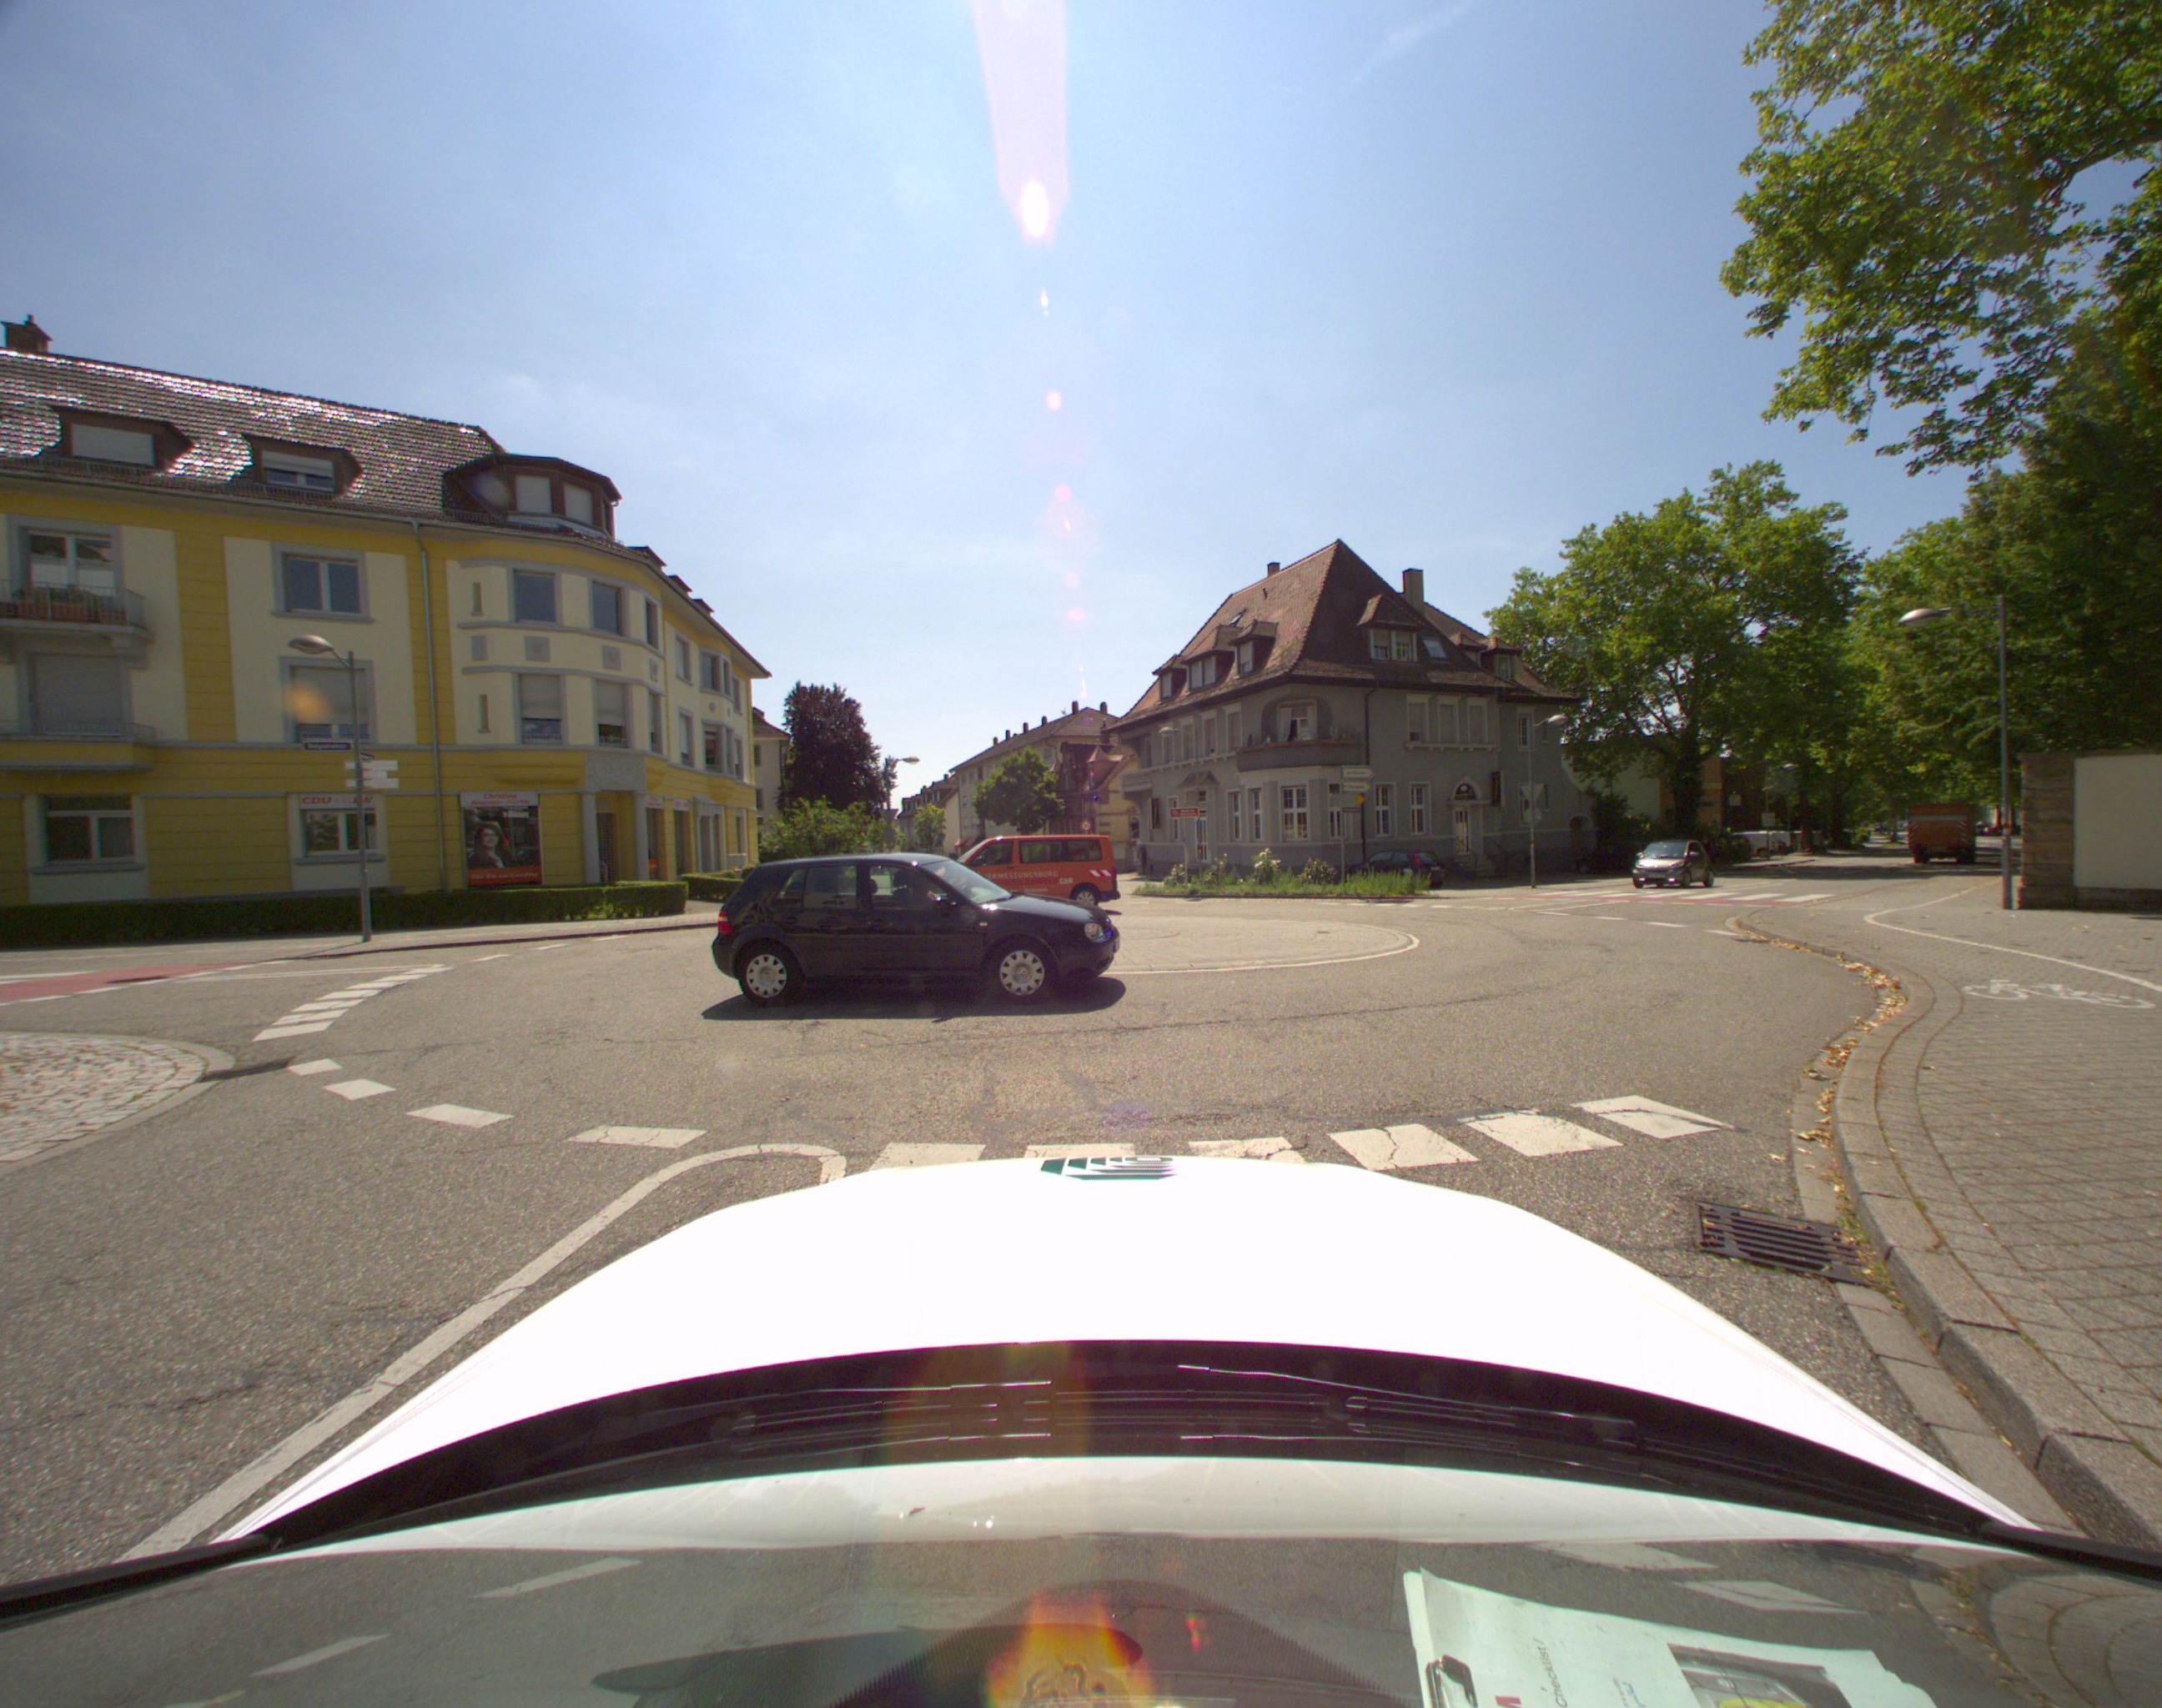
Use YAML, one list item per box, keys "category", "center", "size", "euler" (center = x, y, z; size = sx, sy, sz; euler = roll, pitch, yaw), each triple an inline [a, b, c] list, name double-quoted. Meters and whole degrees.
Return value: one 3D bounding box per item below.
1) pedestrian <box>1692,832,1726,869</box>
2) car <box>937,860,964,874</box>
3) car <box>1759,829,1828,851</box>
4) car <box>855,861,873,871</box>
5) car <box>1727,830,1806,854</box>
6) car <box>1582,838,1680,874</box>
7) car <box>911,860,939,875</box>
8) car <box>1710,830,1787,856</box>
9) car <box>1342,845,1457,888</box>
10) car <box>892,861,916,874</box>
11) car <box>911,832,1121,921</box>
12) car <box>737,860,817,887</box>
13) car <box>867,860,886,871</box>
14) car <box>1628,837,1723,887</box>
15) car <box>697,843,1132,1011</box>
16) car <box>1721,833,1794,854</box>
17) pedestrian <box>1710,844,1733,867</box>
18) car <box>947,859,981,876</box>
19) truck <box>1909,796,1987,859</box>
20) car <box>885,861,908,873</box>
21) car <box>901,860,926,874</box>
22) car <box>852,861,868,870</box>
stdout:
- category: "pedestrian"
  center: [29.859, -0.156, 38.711]
  size: [1.114, 1.742, 0.867]
  euler: [-1, 0, -26]
- category: "car"
  center: [-15.182, 1.517, 94.798]
  size: [2.003, 1.509, 4.383]
  euler: [-1, 0, -24]
- category: "car"
  center: [59.012, -1.192, 67.501]
  size: [1.913, 1.804, 4.093]
  euler: [-1, 2, -41]
- category: "car"
  center: [-34.554, 1.901, 129.635]
  size: [2.003, 1.509, 4.383]
  euler: [-1, 0, -24]
- category: "car"
  center: [52.519, -0.961, 62.464]
  size: [1.913, 1.804, 4.385]
  euler: [-1, 2, -41]
- category: "car"
  center: [25.600, 0.094, 38.020]
  size: [1.728, 1.546, 3.362]
  euler: [-1, 0, -28]
- category: "car"
  center: [-17.239, 1.488, 89.784]
  size: [2.003, 1.509, 4.383]
  euler: [-1, 0, -24]
- category: "car"
  center: [47.237, -0.824, 57.693]
  size: [1.878, 1.792, 3.953]
  euler: [-1, 2, -41]
- category: "car"
  center: [11.740, 0.446, 30.241]
  size: [1.728, 1.460, 3.758]
  euler: [-1, 0, -28]
- category: "car"
  center: [-21.797, 1.607, 100.107]
  size: [2.003, 1.509, 4.383]
  euler: [-1, 0, -24]
- category: "car"
  center: [-1.672, 0.503, 20.487]
  size: [5.006, 1.959, 1.943]
  euler: [-2, 1, -11]
- category: "car"
  center: [-19.172, 1.217, 51.396]
  size: [4.432, 1.509, 1.981]
  euler: [-1, 0, -30]
- category: "car"
  center: [-29.833, 1.673, 118.717]
  size: [2.003, 1.509, 4.383]
  euler: [-1, 0, -24]
- category: "car"
  center: [19.303, 0.248, 26.432]
  size: [2.799, 1.530, 1.554]
  euler: [-1, 0, -33]
- category: "car"
  center: [-1.580, 0.703, 8.497]
  size: [4.021, 1.447, 1.721]
  euler: [-2, 1, 8]
- category: "car"
  center: [50.520, -0.814, 60.863]
  size: [1.878, 1.515, 3.953]
  euler: [-1, 2, -41]
- category: "pedestrian"
  center: [32.292, 0.078, 41.074]
  size: [0.902, 1.122, 0.747]
  euler: [-1, 0, -41]
- category: "car"
  center: [-10.920, 1.237, 75.937]
  size: [2.003, 1.509, 4.383]
  euler: [-1, 0, -24]
- category: "truck"
  center: [46.229, -1.305, 43.365]
  size: [5.797, 3.134, 2.351]
  euler: [0, -1, -39]
- category: "car"
  center: [-23.650, 1.658, 104.452]
  size: [2.003, 1.509, 4.383]
  euler: [-1, 0, -24]
- category: "car"
  center: [-19.599, 1.550, 95.306]
  size: [2.003, 1.509, 4.383]
  euler: [-1, 0, -24]
- category: "car"
  center: [-36.520, 1.919, 134.451]
  size: [2.002, 1.488, 3.969]
  euler: [0, -1, -23]
